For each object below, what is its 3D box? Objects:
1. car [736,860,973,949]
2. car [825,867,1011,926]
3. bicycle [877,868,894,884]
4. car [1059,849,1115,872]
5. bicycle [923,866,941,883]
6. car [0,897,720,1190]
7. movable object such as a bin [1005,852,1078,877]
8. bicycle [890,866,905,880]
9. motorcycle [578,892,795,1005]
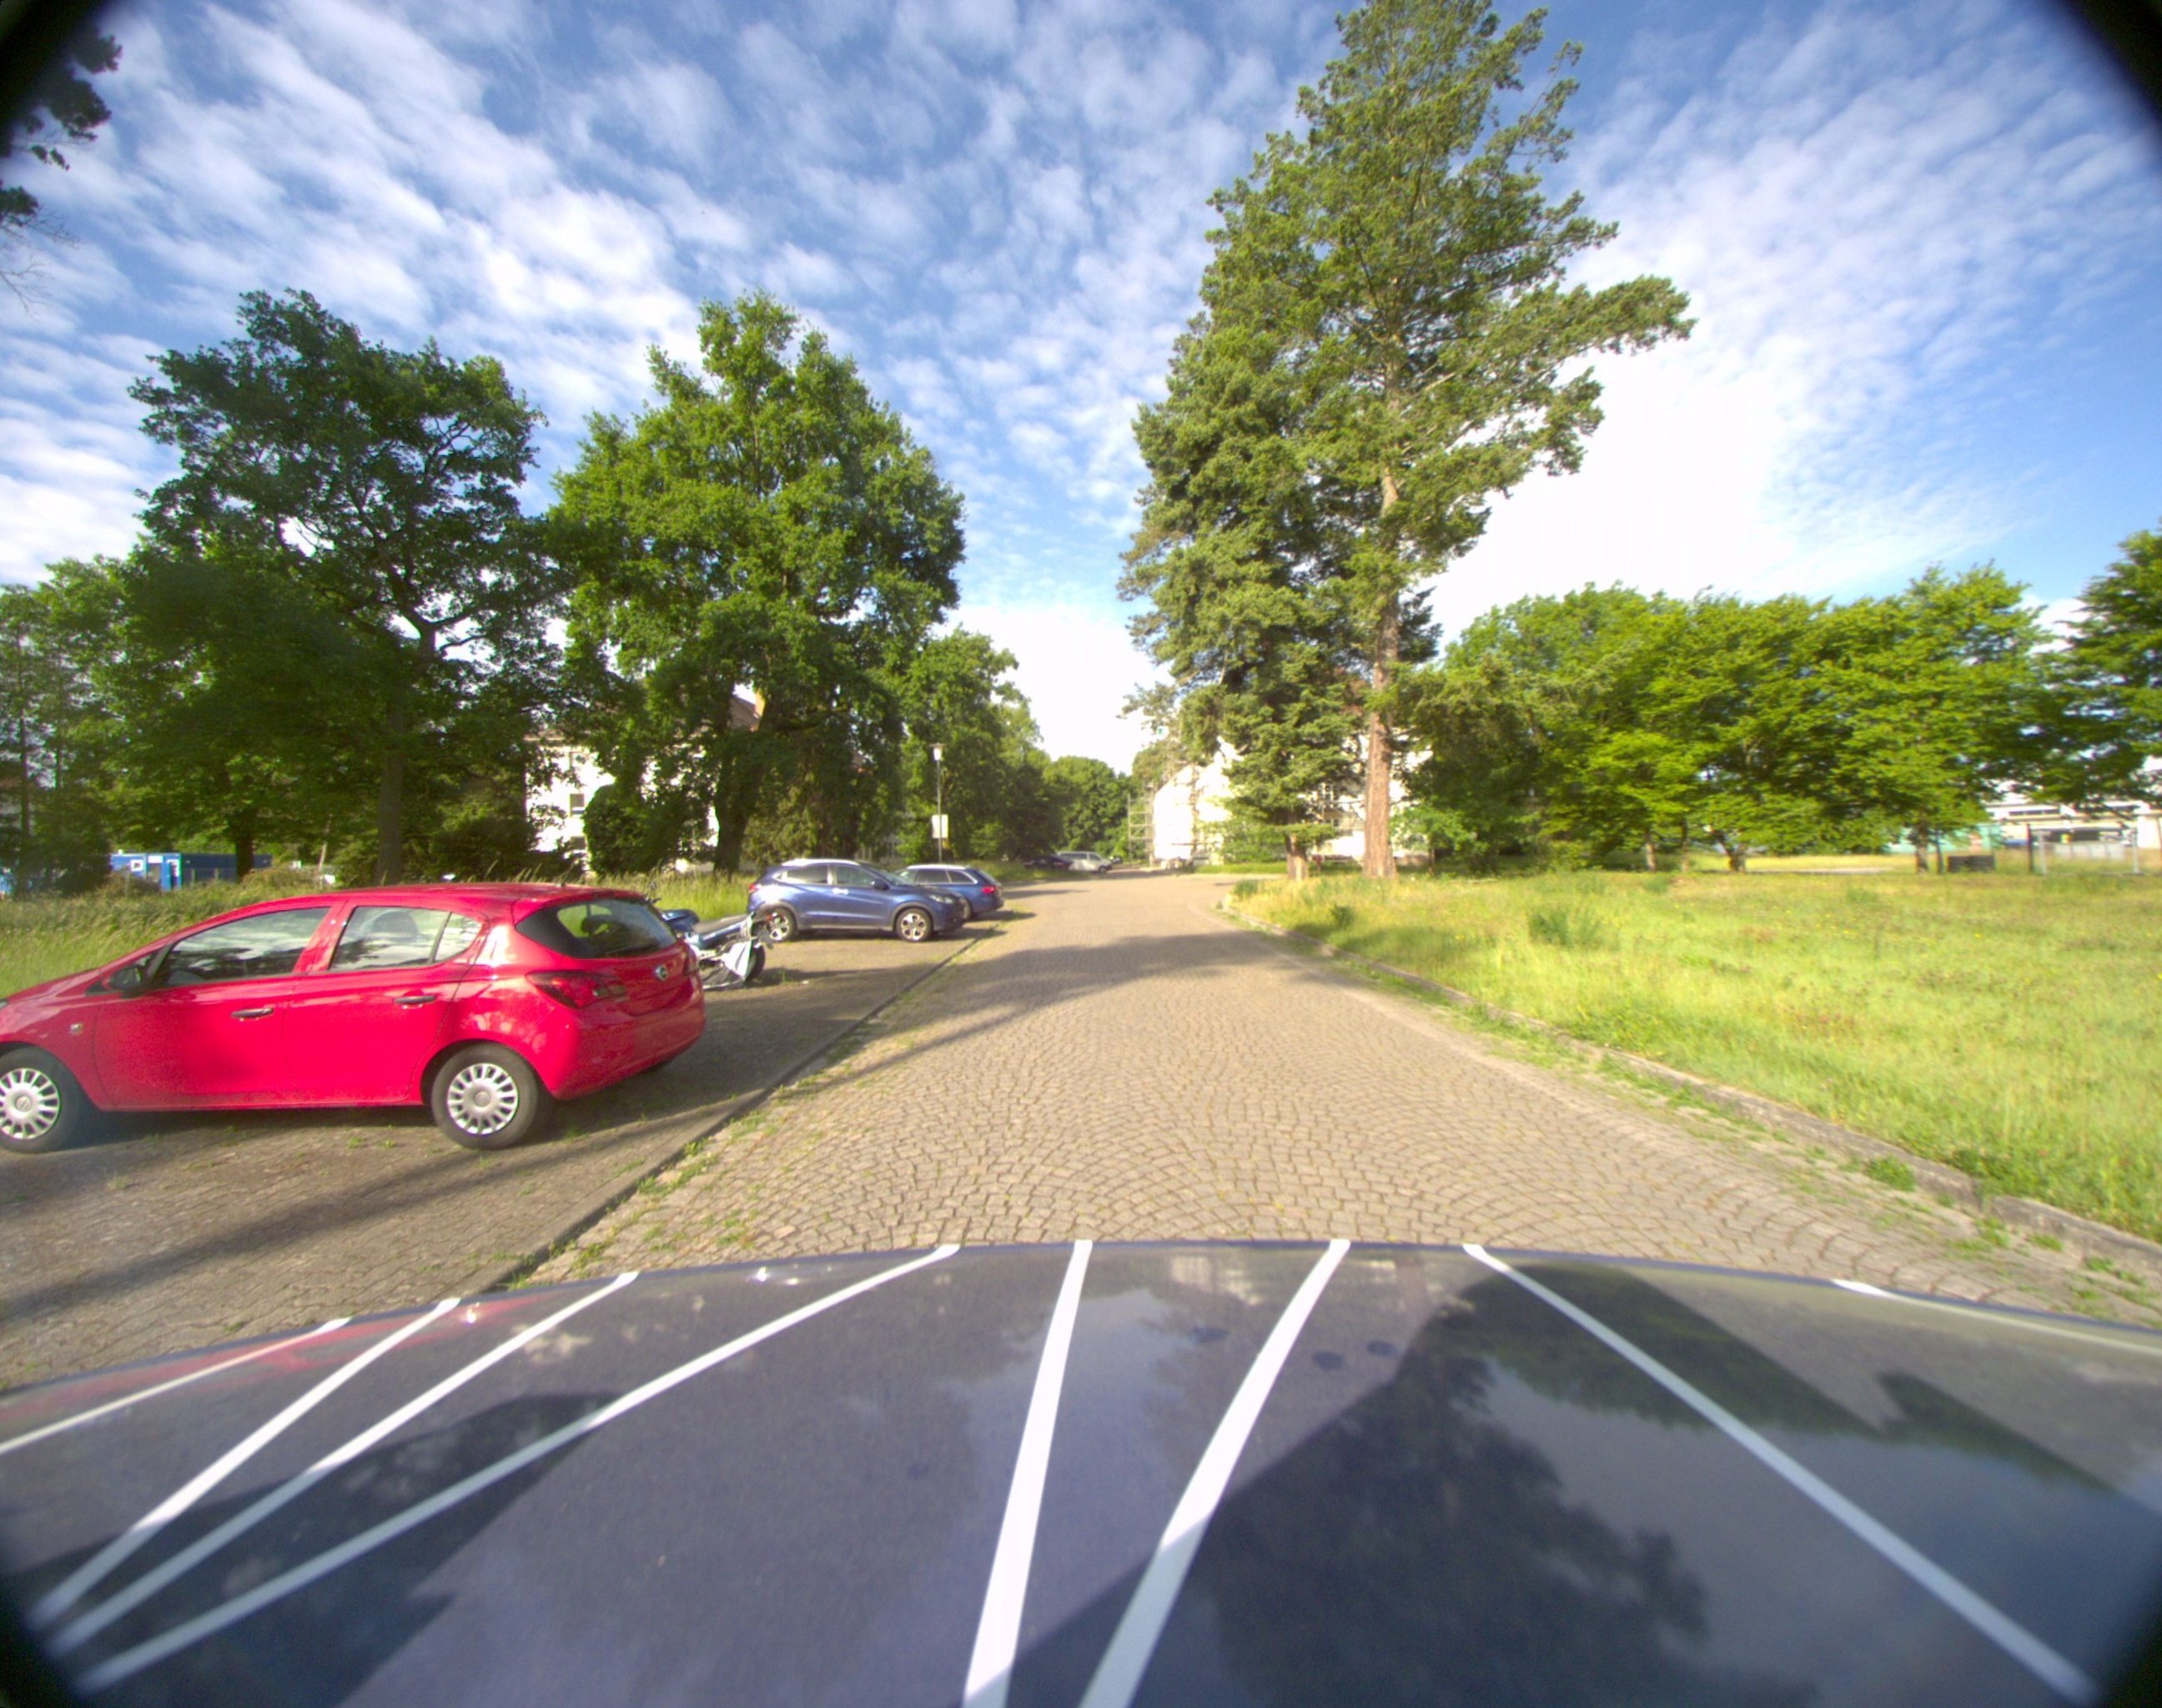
[{"bbox_3d":[-4.392,0.967,15.192,4.187,1.581,1.751,-1,0,0],"label":"car"},{"bbox_3d":[-4.176,1.064,19.889,4.459,1.399,1.714,0,0,3],"label":"car"},{"bbox_3d":[-12.661,1.409,49.256,0.710,1.010,1.028,-1,0,8],"label":"bicycle"},{"bbox_3d":[0.527,0.574,68.671,4.936,2.002,2.000,-1,0,1],"label":"car"},{"bbox_3d":[-9.525,1.293,48.547,0.710,1.010,1.257,-1,0,8],"label":"bicycle"},{"bbox_3d":[-4.644,1.068,4.890,3.837,1.470,1.645,0,0,0],"label":"car"},{"bbox_3d":[-2.852,0.744,55.737,4.931,1.749,2.002,-1,0,15],"label":"movable object such as a bin"},{"bbox_3d":[-12.894,1.329,53.376,0.712,1.010,1.024,-2,1,-37],"label":"bicycle"},{"bbox_3d":[-4.854,1.148,9.451,2.305,1.312,0.726,0,1,0],"label":"motorcycle"}]
